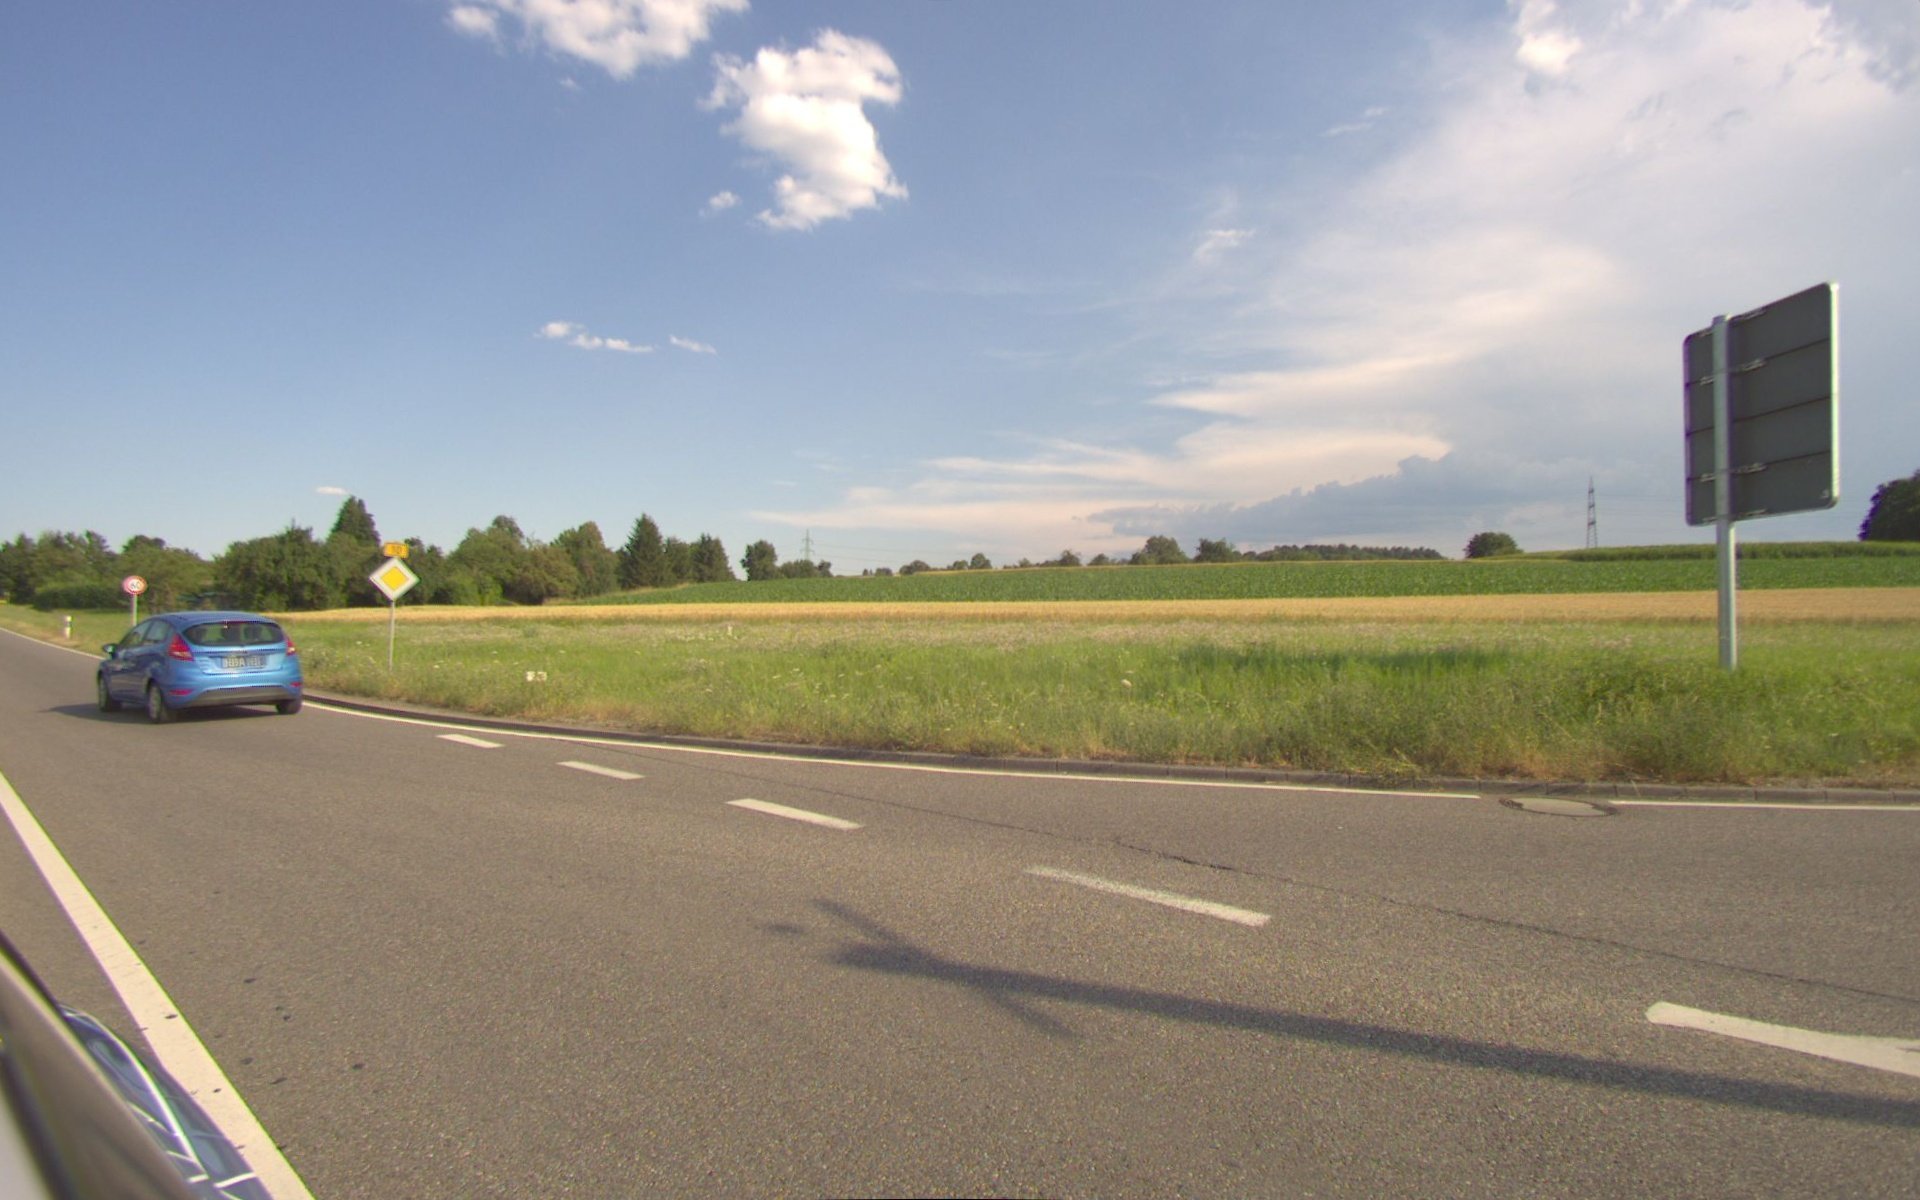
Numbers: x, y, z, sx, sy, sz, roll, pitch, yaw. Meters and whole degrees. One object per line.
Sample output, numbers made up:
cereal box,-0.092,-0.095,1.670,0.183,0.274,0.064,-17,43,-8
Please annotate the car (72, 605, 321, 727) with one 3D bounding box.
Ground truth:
car,-10.930,0.876,14.415,3.992,1.512,1.743,-2,-2,36
